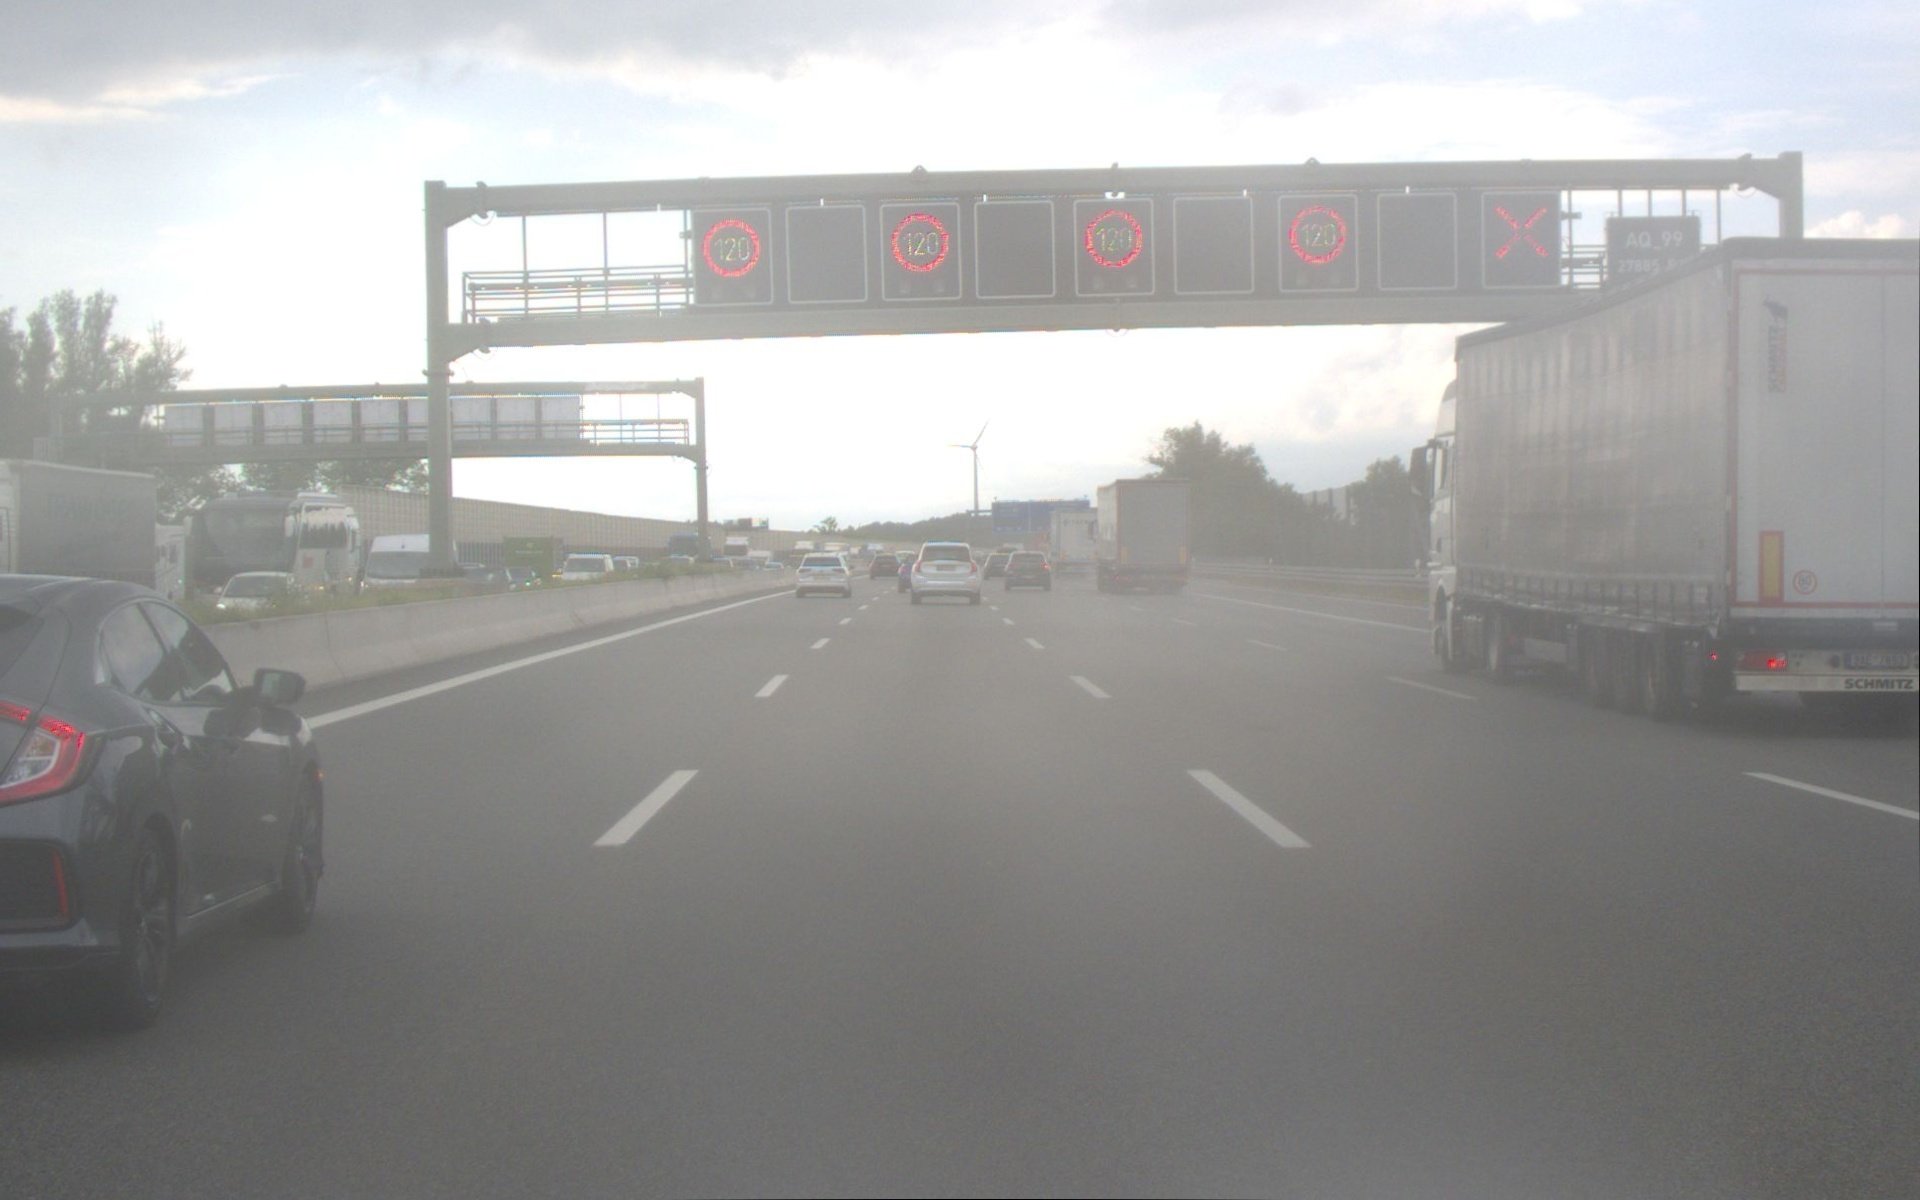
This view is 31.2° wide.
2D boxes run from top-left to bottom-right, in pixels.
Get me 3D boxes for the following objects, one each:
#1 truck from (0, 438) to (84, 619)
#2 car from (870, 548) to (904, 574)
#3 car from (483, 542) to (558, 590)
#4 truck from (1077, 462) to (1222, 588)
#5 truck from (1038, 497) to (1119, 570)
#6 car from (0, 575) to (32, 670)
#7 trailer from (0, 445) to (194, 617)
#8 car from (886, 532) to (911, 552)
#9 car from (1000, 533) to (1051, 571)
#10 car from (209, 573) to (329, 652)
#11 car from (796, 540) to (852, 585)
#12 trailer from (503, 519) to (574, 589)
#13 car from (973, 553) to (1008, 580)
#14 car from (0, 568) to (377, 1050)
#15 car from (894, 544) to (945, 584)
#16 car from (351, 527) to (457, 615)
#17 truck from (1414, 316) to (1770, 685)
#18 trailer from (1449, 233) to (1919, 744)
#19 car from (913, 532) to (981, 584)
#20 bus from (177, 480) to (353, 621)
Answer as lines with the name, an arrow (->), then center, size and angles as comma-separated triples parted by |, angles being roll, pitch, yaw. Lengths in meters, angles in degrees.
truck -> -22.316, -1.622, 78.054 | 2.886, 3.948, 7.536 | 1, 1, 0
car -> -4.095, -2.200, 193.118 | 1.772, 1.436, 4.056 | 0, 1, -3
car -> -19.255, -1.499, 150.910 | 2.449, 2.044, 6.194 | -1, 1, 0
truck -> 6.778, -2.699, 125.230 | 4.180, 4.273, 12.614 | 1, 1, -2
truck -> 7.014, -3.972, 205.267 | 4.243, 4.162, 11.990 | 1, 1, -1
car -> -14.956, 0.339, 49.998 | 1.787, 1.377, 4.590 | 1, 1, -2
trailer -> -22.321, -1.720, 86.395 | 2.886, 3.948, 14.299 | 1, 1, 0
car -> -4.471, -4.235, 250.472 | 1.772, 1.436, 4.056 | 0, 1, -1
car -> 2.543, -1.888, 134.413 | 1.835, 1.436, 4.056 | 0, 1, -1
car -> -14.471, 0.239, 72.177 | 1.736, 1.534, 4.378 | 1, 1, -2
car -> -4.433, -1.237, 112.235 | 1.772, 1.436, 3.874 | 0, 1, -2
trailer -> -19.241, -2.116, 157.039 | 2.449, 3.128, 6.051 | -1, 1, 0
car -> 1.682, -1.879, 192.271 | 1.835, 1.436, 4.056 | 0, 1, -1
car -> -3.365, 0.597, 12.710 | 1.760, 1.364, 5.061 | 0, 1, -2
car -> -1.505, -1.339, 126.214 | 1.772, 1.436, 4.056 | 0, 1, -2
car -> -15.414, -0.829, 95.564 | 2.136, 2.343, 5.711 | 1, 1, -2
truck -> 7.325, -1.155, 40.783 | 2.961, 4.006, 6.589 | 0, 1, 0
trailer -> 7.382, -1.023, 34.082 | 2.961, 4.006, 14.119 | 0, 1, 0
car -> -0.388, -1.194, 97.123 | 1.772, 1.436, 4.056 | 0, 1, -2
bus -> -19.151, -1.351, 95.355 | 2.654, 3.667, 10.634 | -1, 1, 0
